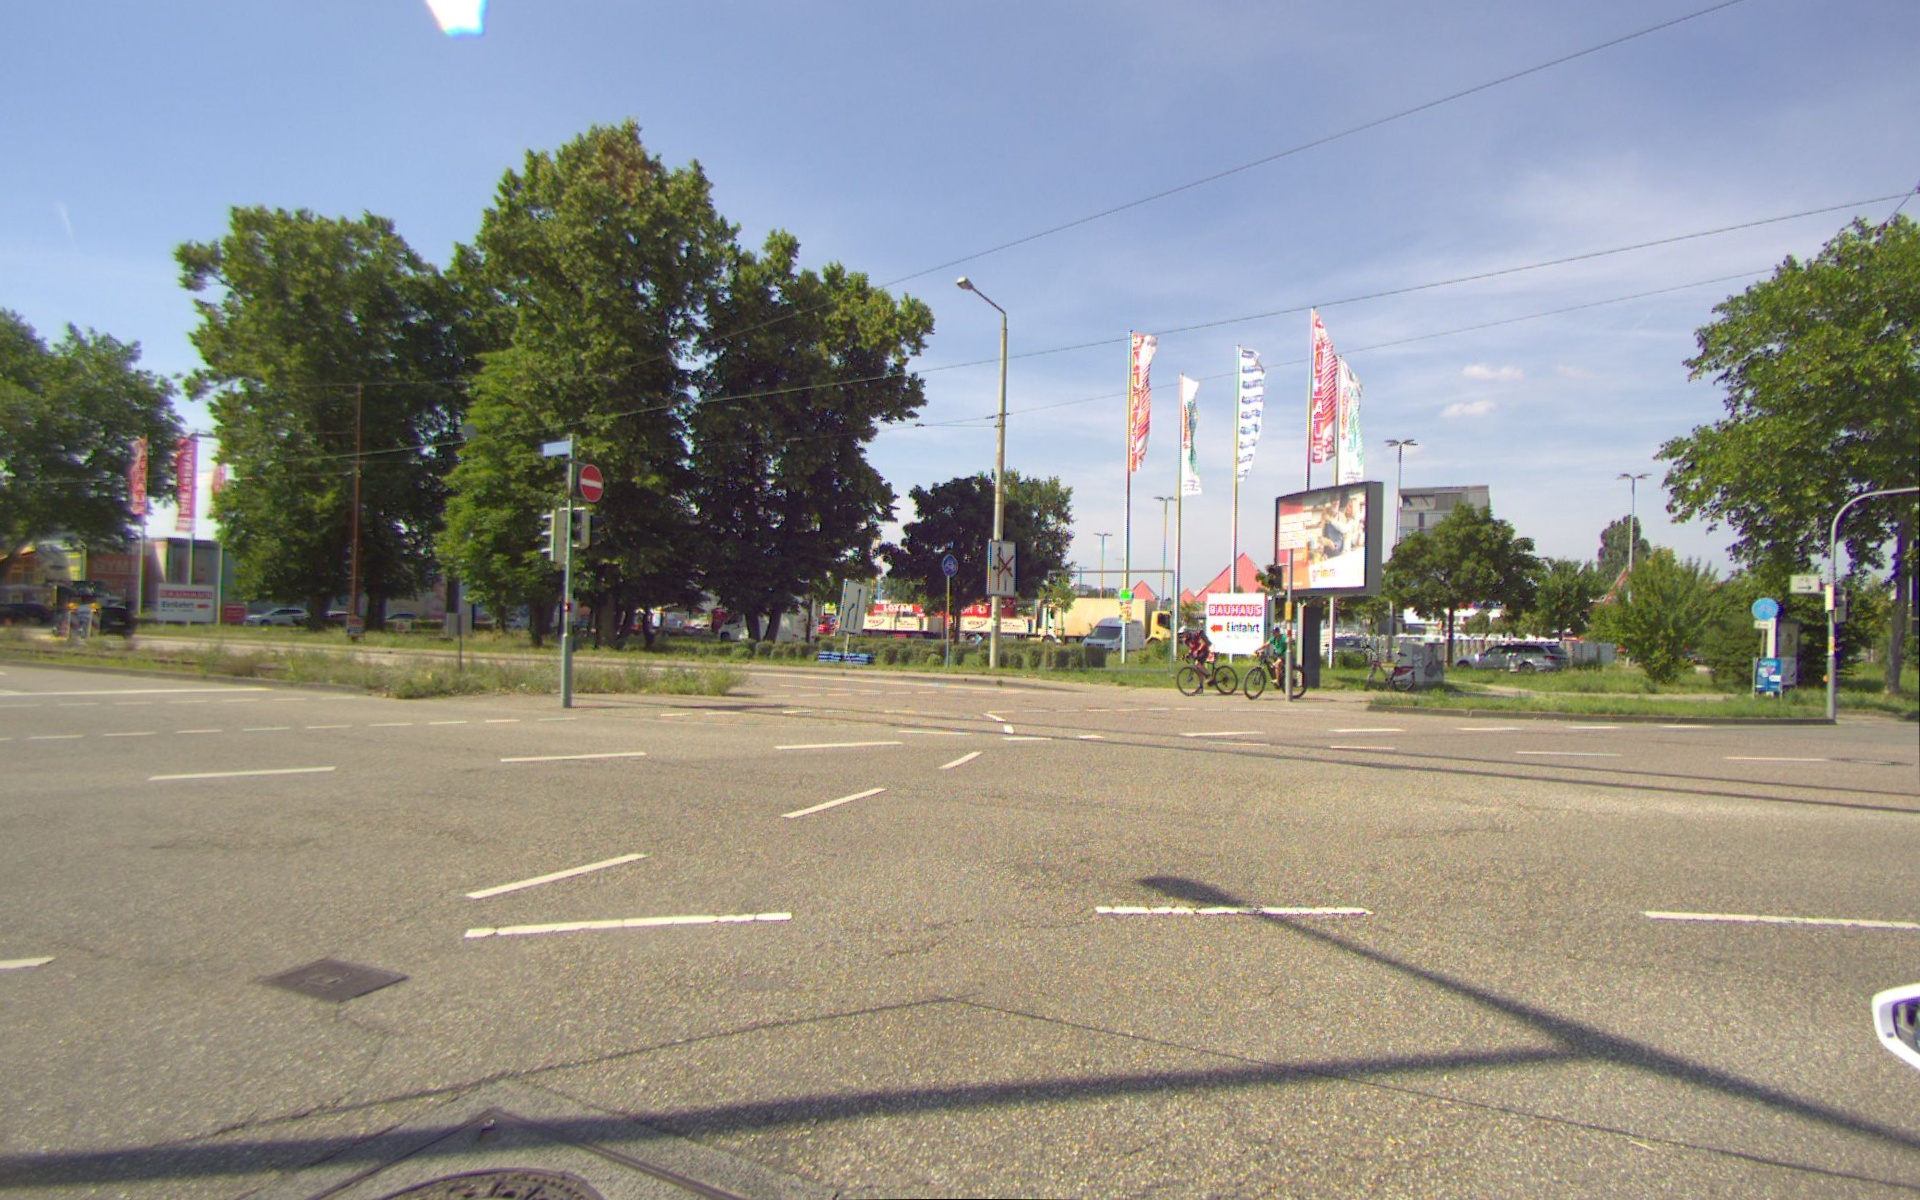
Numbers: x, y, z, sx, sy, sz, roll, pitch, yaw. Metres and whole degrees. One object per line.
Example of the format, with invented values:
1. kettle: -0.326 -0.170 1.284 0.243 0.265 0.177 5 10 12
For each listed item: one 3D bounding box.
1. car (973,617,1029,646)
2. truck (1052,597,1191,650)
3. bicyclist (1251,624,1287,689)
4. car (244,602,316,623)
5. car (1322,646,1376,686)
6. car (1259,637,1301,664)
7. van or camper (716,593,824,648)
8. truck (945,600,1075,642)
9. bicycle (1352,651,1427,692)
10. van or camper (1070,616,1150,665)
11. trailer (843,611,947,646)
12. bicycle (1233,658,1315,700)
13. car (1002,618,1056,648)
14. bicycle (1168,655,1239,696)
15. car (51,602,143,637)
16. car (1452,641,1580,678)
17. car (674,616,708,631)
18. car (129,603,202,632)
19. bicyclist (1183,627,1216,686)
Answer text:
1. car: 3.845 2.902 92.239 2.346 2.562 6.426 0 -2 31
2. truck: 10.942 1.536 68.331 8.759 3.355 3.157 1 -1 27
3. bicyclist: 7.342 1.346 23.840 0.600 1.511 0.527 2 -1 -18
4. car: -54.400 1.032 80.407 1.842 1.585 4.374 1 -2 31
5. car: 17.493 2.939 45.298 2.157 1.593 4.577 1 -1 21
6. car: 20.064 3.135 62.907 1.788 1.593 4.275 1 -2 27
7. van or camper: -11.803 1.237 62.278 6.211 3.141 2.708 1 -1 30
8. truck: 3.725 1.561 75.875 9.437 2.930 2.923 1 -1 27
9. bicycle: 11.659 1.946 27.275 1.862 1.051 0.595 2 -1 -13
10. van or camper: 7.607 2.027 50.464 2.157 2.239 5.509 1 -2 29
11. trailer: -5.262 2.265 80.612 8.063 2.523 2.922 1 -1 29
12. bicycle: 7.447 1.874 23.817 1.966 0.950 0.416 2 -1 -18
13. car: 6.298 3.033 90.902 2.346 2.562 6.114 0 -2 31
14. bicycle: 5.943 1.839 24.512 1.724 0.950 0.433 2 -1 -18
15. car: -38.891 0.879 45.260 4.146 1.462 1.787 1 -1 29
16. car: 24.754 2.635 44.844 2.178 1.432 4.535 2 -2 -33
17. car: -34.158 3.049 127.799 1.815 1.817 3.992 1 -1 31
18. car: -57.891 1.284 73.202 3.972 2.040 1.974 2 -2 -43
19. bicyclist: 5.855 1.378 24.566 0.599 1.432 0.527 2 -1 -17
